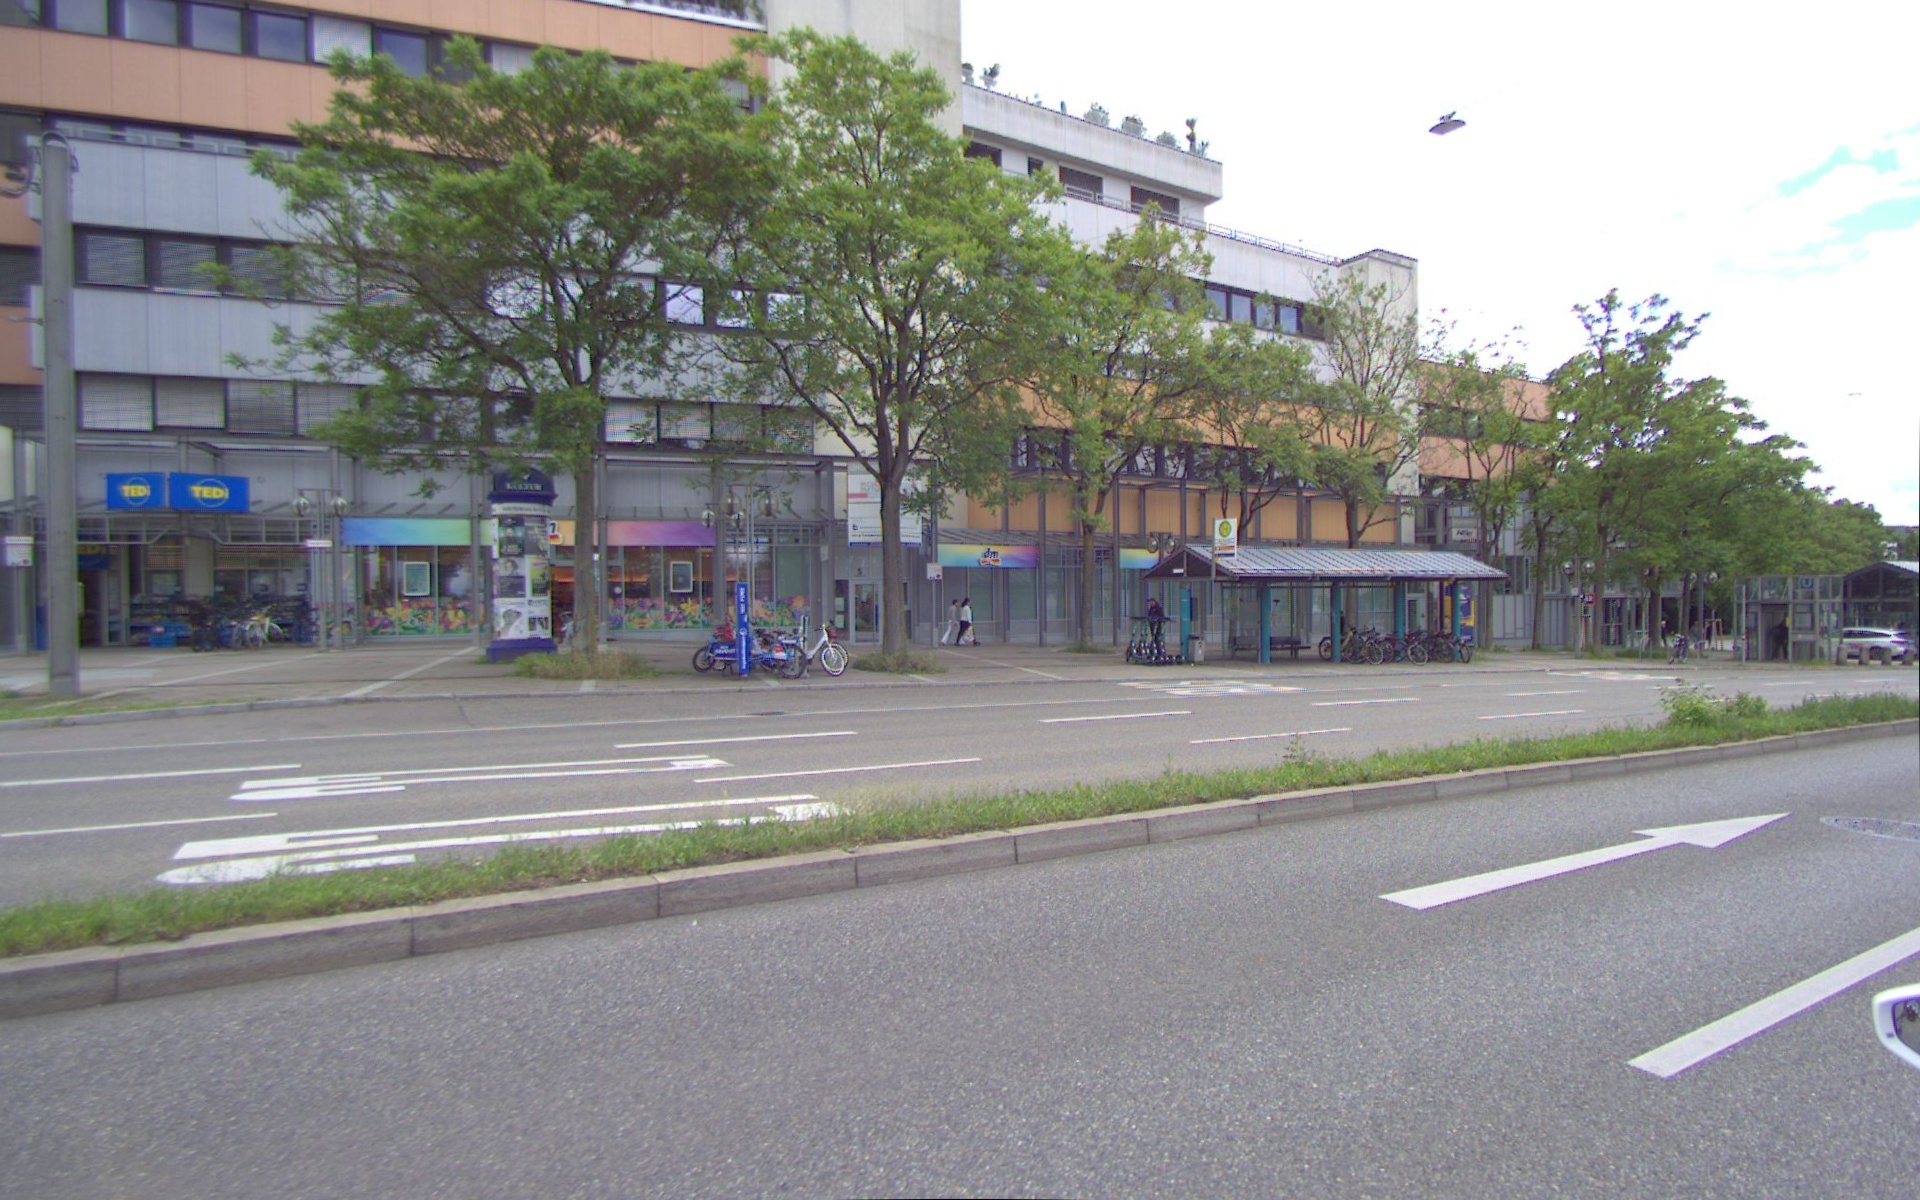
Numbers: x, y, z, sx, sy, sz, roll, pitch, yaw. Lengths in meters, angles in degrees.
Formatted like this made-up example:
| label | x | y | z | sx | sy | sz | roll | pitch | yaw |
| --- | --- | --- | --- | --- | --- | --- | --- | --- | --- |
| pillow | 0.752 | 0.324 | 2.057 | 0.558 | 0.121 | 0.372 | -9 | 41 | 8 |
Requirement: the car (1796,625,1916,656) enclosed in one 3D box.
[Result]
| label | x | y | z | sx | sy | sz | roll | pitch | yaw |
| --- | --- | --- | --- | --- | --- | --- | --- | --- | --- |
| car | 42.405 | 1.890 | 47.611 | 1.982 | 1.372 | 3.958 | 1 | -1 | -37 |

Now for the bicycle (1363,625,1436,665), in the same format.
| label | x | y | z | sx | sy | sz | roll | pitch | yaw |
| --- | --- | --- | --- | --- | --- | --- | --- | --- | --- |
| bicycle | 14.312 | 1.453 | 32.749 | 0.706 | 1.169 | 2.046 | 1 | 1 | -41 |

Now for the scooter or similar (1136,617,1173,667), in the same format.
| label | x | y | z | sx | sy | sz | roll | pitch | yaw |
| --- | --- | --- | --- | --- | --- | --- | --- | --- | --- |
| scooter or similar | 5.282 | 1.128 | 27.335 | 0.265 | 1.312 | 1.120 | 1 | -1 | -33 |

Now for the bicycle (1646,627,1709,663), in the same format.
| label | x | y | z | sx | sy | sz | roll | pitch | yaw |
| --- | --- | --- | --- | --- | --- | --- | --- | --- | --- |
| bicycle | 27.455 | 1.705 | 38.418 | 2.396 | 1.288 | 1.046 | 1 | 1 | -30 |

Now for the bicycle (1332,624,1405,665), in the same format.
| label | x | y | z | sx | sy | sz | roll | pitch | yaw |
| --- | --- | --- | --- | --- | --- | --- | --- | --- | --- |
| bicycle | 13.242 | 1.428 | 32.603 | 0.706 | 1.169 | 2.046 | 1 | 1 | -41 |

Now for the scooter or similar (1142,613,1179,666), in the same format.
| label | x | y | z | sx | sy | sz | roll | pitch | yaw |
| --- | --- | --- | --- | --- | --- | --- | --- | --- | --- |
| scooter or similar | 5.485 | 1.072 | 27.522 | 0.220 | 1.403 | 1.194 | 1 | -1 | -32 |

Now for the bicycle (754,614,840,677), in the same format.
| label | x | y | z | sx | sy | sz | roll | pitch | yaw |
| --- | --- | --- | --- | --- | --- | --- | --- | --- | --- |
| bicycle | -3.394 | 0.945 | 20.985 | 1.649 | 1.270 | 0.627 | 0 | 0 | 7 |

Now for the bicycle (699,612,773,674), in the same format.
| label | x | y | z | sx | sy | sz | roll | pitch | yaw |
| --- | --- | --- | --- | --- | --- | --- | --- | --- | --- |
| bicycle | -4.657 | 0.881 | 20.915 | 1.441 | 1.270 | 0.432 | 0 | 0 | 10 |

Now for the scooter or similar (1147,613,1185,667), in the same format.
| label | x | y | z | sx | sy | sz | roll | pitch | yaw |
| --- | --- | --- | --- | --- | --- | --- | --- | --- | --- |
| scooter or similar | 5.678 | 1.088 | 27.716 | 0.257 | 1.442 | 1.194 | 1 | -1 | -32 |

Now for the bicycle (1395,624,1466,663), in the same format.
| label | x | y | z | sx | sy | sz | roll | pitch | yaw |
| --- | --- | --- | --- | --- | --- | --- | --- | --- | --- |
| bicycle | 16.086 | 1.467 | 34.374 | 0.706 | 1.169 | 2.046 | 1 | 3 | -41 |

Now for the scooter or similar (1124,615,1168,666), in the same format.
| label | x | y | z | sx | sy | sz | roll | pitch | yaw |
| --- | --- | --- | --- | --- | --- | --- | --- | --- | --- |
| scooter or similar | 5.014 | 1.081 | 27.093 | 0.336 | 1.286 | 1.313 | 1 | 1 | -33 |

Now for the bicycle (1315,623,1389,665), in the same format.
| label | x | y | z | sx | sy | sz | roll | pitch | yaw |
| --- | --- | --- | --- | --- | --- | --- | --- | --- | --- |
| bicycle | 12.393 | 1.384 | 31.826 | 0.706 | 1.169 | 2.046 | 1 | 2 | -41 |

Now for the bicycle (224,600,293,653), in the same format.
| label | x | y | z | sx | sy | sz | roll | pitch | yaw |
| --- | --- | --- | --- | --- | --- | --- | --- | --- | --- |
| bicycle | -18.461 | 0.693 | 26.496 | 0.693 | 1.337 | 1.970 | 1 | -1 | -10 |

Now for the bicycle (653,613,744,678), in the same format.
| label | x | y | z | sx | sy | sz | roll | pitch | yaw |
| --- | --- | --- | --- | --- | --- | --- | --- | --- | --- |
| bicycle | -5.278 | 0.898 | 20.284 | 1.649 | 1.270 | 0.627 | 0 | 0 | 8 |

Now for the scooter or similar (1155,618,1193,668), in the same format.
| label | x | y | z | sx | sy | sz | roll | pitch | yaw |
| --- | --- | --- | --- | --- | --- | --- | --- | --- | --- |
| scooter or similar | 5.925 | 1.175 | 27.877 | 0.257 | 1.338 | 1.194 | 1 | -1 | -32 |

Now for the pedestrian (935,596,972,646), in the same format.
| label | x | y | z | sx | sy | sz | roll | pitch | yaw |
| --- | --- | --- | --- | --- | --- | --- | --- | --- | --- |
| pedestrian | -0.219 | 0.710 | 33.922 | 0.985 | 1.639 | 0.729 | 1 | -1 | -30 |

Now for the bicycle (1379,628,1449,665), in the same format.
| label | x | y | z | sx | sy | sz | roll | pitch | yaw |
| --- | --- | --- | --- | --- | --- | --- | --- | --- | --- |
| bicycle | 15.269 | 1.541 | 33.819 | 0.706 | 1.169 | 2.047 | 1 | -1 | -41 |

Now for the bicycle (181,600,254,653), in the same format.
| label | x | y | z | sx | sy | sz | roll | pitch | yaw |
| --- | --- | --- | --- | --- | --- | --- | --- | --- | --- |
| bicycle | -19.418 | 0.688 | 26.310 | 0.693 | 1.337 | 1.970 | 1 | -1 | -10 |

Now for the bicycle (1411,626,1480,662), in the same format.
| label | x | y | z | sx | sy | sz | roll | pitch | yaw |
| --- | --- | --- | --- | --- | --- | --- | --- | --- | --- |
| bicycle | 16.903 | 1.519 | 35.021 | 0.706 | 1.169 | 2.046 | 1 | 0 | -41 |

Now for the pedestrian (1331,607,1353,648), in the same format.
| label | x | y | z | sx | sy | sz | roll | pitch | yaw |
| --- | --- | --- | --- | --- | --- | --- | --- | --- | --- |
| pedestrian | 15.533 | 1.112 | 40.883 | 0.666 | 1.665 | 0.530 | 1 | -1 | -25 |

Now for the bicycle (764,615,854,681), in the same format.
| label | x | y | z | sx | sy | sz | roll | pitch | yaw |
| --- | --- | --- | --- | --- | --- | --- | --- | --- | --- |
| bicycle | -3.003 | 0.947 | 20.002 | 1.649 | 1.270 | 0.627 | 0 | 0 | 7 |

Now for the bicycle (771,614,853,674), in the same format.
| label | x | y | z | sx | sy | sz | roll | pitch | yaw |
| --- | --- | --- | --- | --- | --- | --- | --- | --- | --- |
| bicycle | -3.226 | 0.950 | 21.965 | 1.649 | 1.270 | 0.627 | 0 | 0 | 7 |

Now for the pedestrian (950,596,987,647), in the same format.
| label | x | y | z | sx | sy | sz | roll | pitch | yaw |
| --- | --- | --- | --- | --- | --- | --- | --- | --- | --- |
| pedestrian | 0.279 | 0.710 | 33.223 | 0.985 | 1.639 | 0.729 | 1 | -1 | -30 |

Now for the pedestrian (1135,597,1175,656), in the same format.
| label | x | y | z | sx | sy | sz | roll | pitch | yaw |
| --- | --- | --- | --- | --- | --- | --- | --- | --- | --- |
| pedestrian | 6.113 | 0.830 | 31.526 | 0.985 | 1.805 | 0.729 | 1 | -1 | -30 |
